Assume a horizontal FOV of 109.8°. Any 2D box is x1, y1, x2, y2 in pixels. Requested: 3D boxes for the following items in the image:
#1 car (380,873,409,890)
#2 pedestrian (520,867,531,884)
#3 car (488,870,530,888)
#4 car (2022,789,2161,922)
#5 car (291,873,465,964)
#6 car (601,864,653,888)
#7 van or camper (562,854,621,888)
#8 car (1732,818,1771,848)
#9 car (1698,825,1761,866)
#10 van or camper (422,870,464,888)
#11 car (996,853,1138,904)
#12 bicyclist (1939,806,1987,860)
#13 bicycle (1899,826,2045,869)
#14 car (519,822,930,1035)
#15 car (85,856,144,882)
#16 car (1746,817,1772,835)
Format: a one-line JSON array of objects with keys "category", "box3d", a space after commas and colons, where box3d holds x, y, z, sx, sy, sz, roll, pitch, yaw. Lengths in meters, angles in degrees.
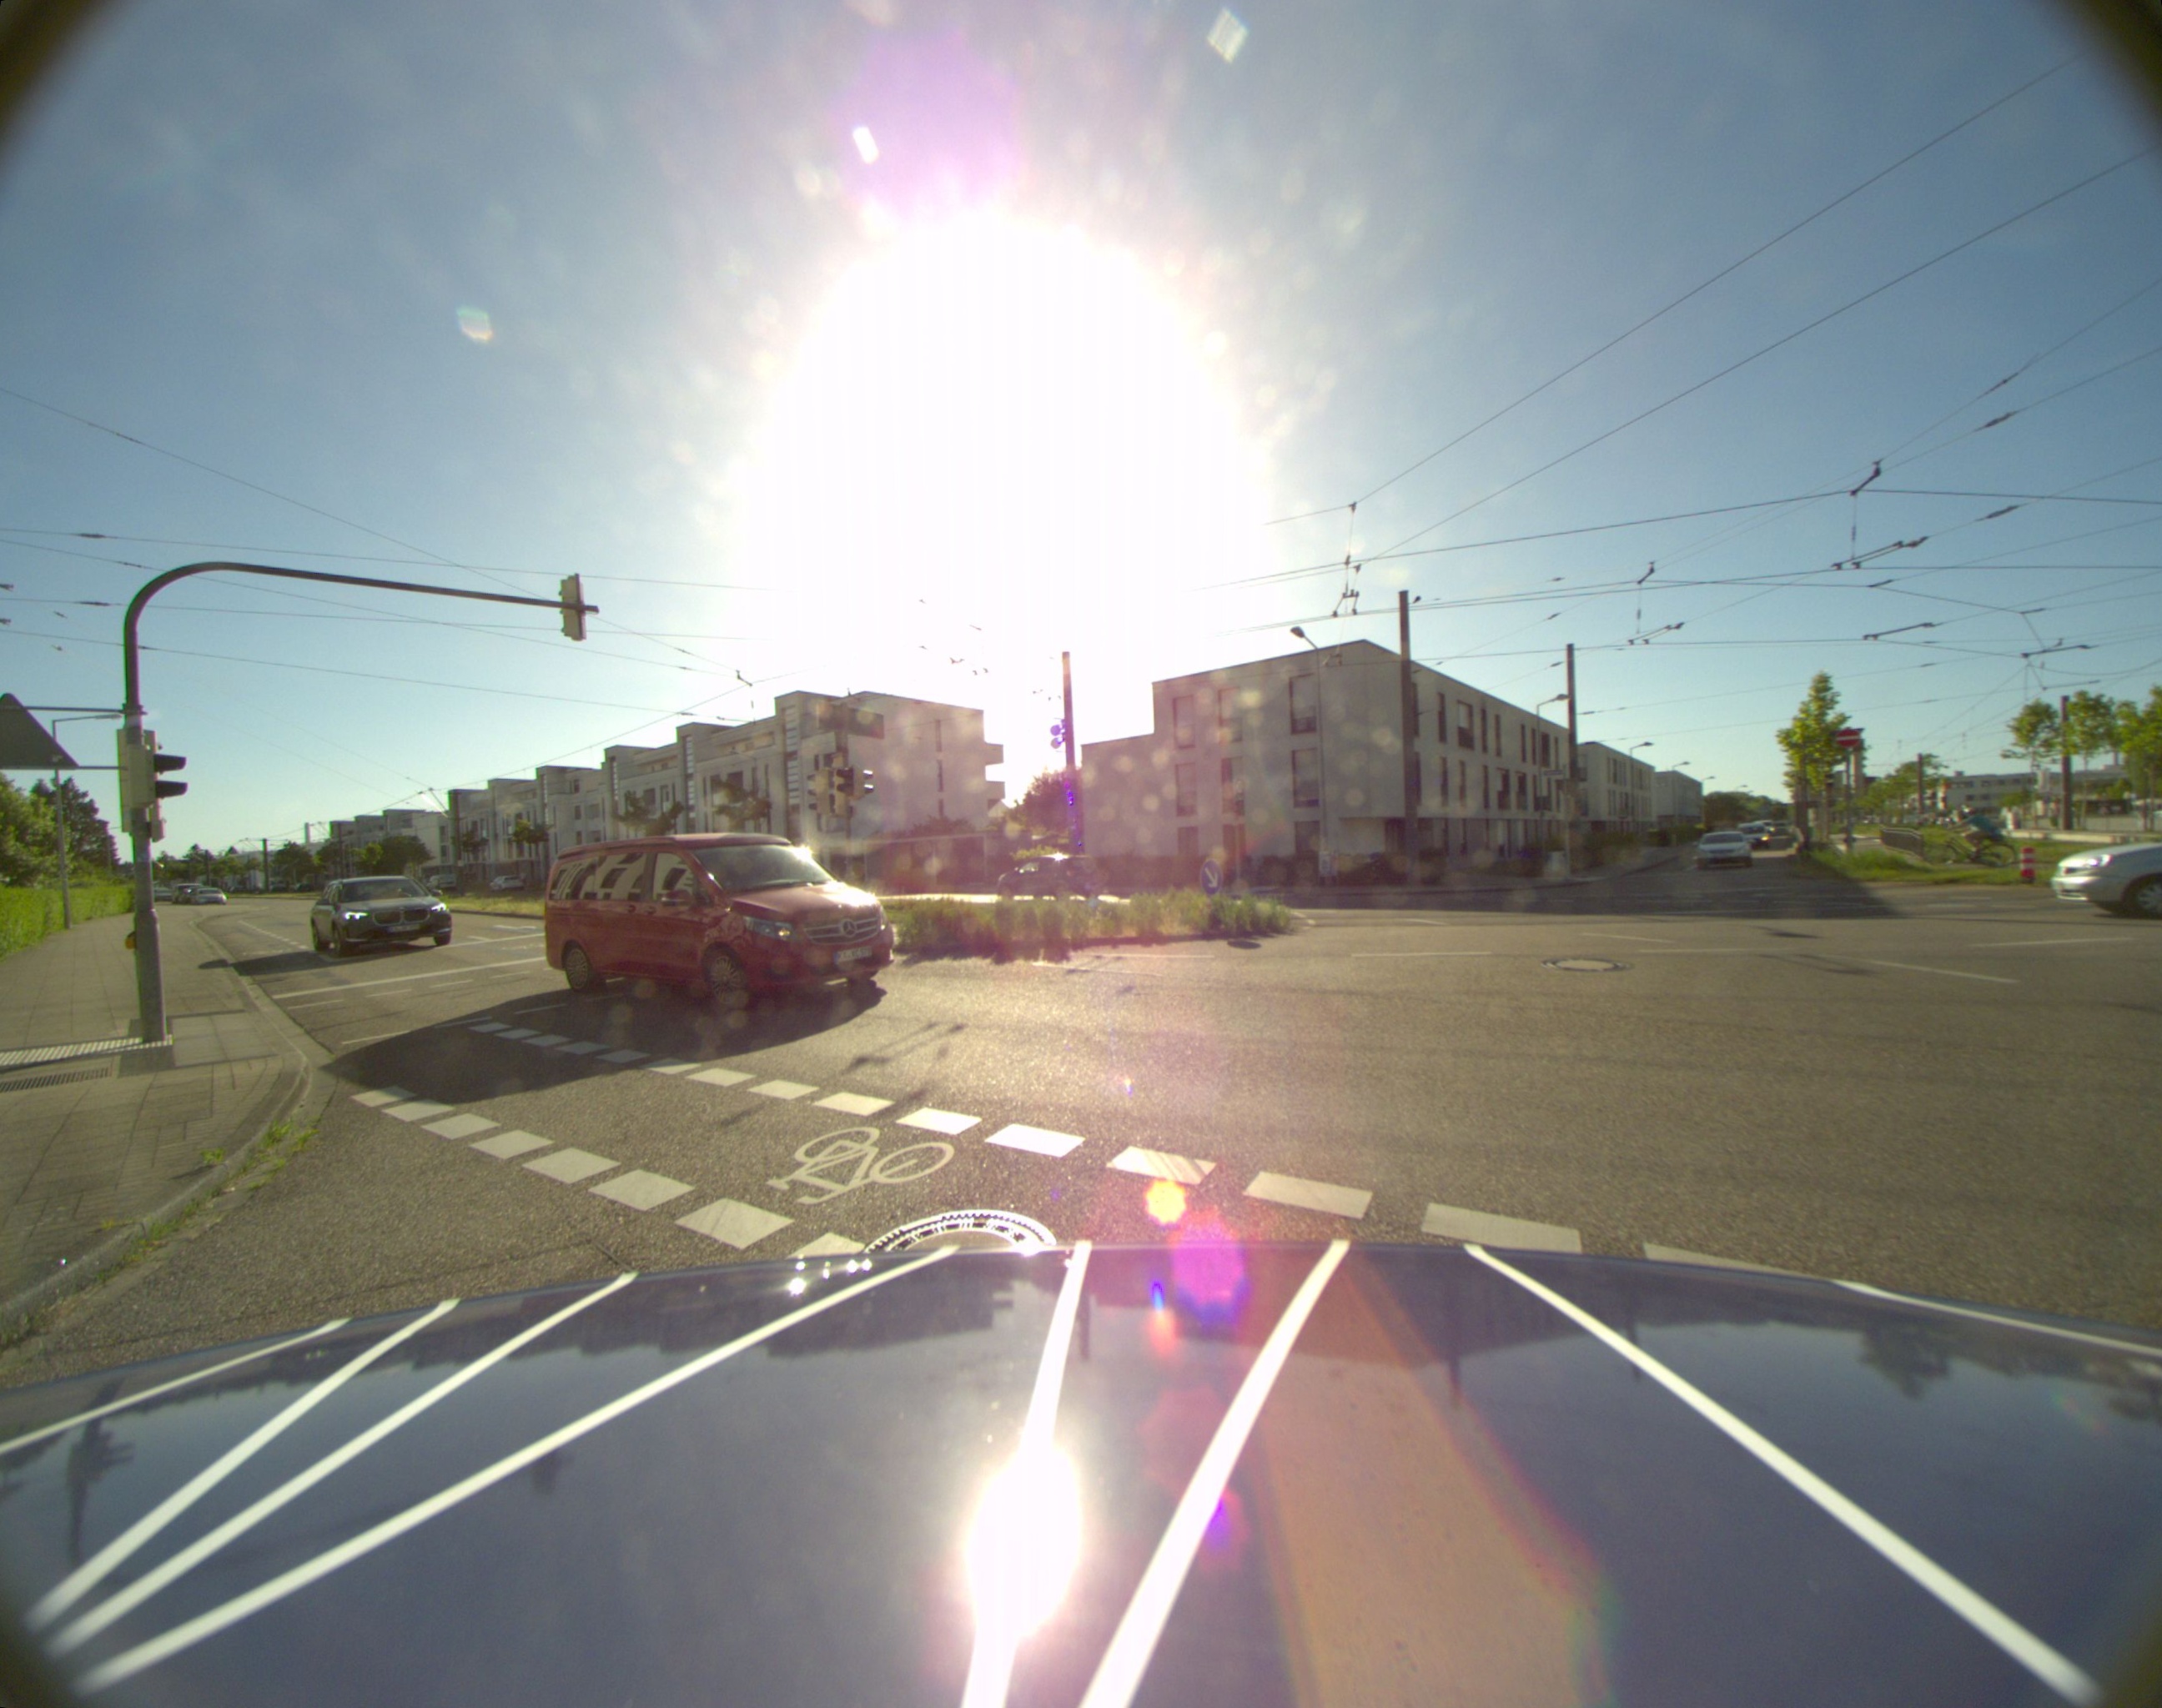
[{"category": "car", "box3d": [-86.165, 3.435, 95.397, 3.989, 2.003, 1.791, -2, 3, 36]}, {"category": "pedestrian", "box3d": [-55.369, 2.169, 75.709, 0.611, 1.634, 0.620, -2, 3, 33]}, {"category": "car", "box3d": [-53.885, 2.344, 71.608, 4.110, 1.577, 2.052, -2, 1, 37]}, {"category": "car", "box3d": [15.862, -0.045, 9.831, 4.349, 1.745, 2.004, -2, 1, 41]}, {"category": "car", "box3d": [-16.069, 1.355, 17.310, 4.395, 1.663, 2.003, -1, 3, 36]}, {"category": "car", "box3d": [-32.625, 1.565, 54.560, 3.825, 1.604, 1.939, -2, 1, 40]}, {"category": "van or camper", "box3d": [-37.872, 1.320, 58.712, 5.245, 2.450, 2.203, -2, 1, 39]}, {"category": "car", "box3d": [47.507, -1.491, 53.908, 1.994, 2.002, 4.007, -1, 1, 41]}, {"category": "car", "box3d": [28.675, -0.393, 33.594, 2.003, 1.655, 4.008, -2, 1, 41]}, {"category": "van or camper", "box3d": [-70.994, 2.755, 84.557, 6.268, 1.838, 2.278, -2, 2, 39]}, {"category": "car", "box3d": [-0.516, 0.768, 24.276, 4.440, 1.448, 1.704, -2, 1, 40]}, {"category": "bicyclist", "box3d": [26.687, -0.633, 22.998, 0.897, 1.583, 0.911, -3, 1, -41]}, {"category": "bicycle", "box3d": [26.780, -0.172, 22.921, 0.905, 1.191, 2.818, -3, 1, -40]}, {"category": "car", "box3d": [-4.554, 0.766, 9.446, 5.070, 1.959, 2.132, -2, 3, 33]}, {"category": "car", "box3d": [-96.113, 1.486, 75.670, 6.157, 2.334, 3.190, -1, 3, 41]}, {"category": "car", "box3d": [77.117, -3.181, 86.461, 1.994, 2.002, 4.007, -2, 1, 39]}]
